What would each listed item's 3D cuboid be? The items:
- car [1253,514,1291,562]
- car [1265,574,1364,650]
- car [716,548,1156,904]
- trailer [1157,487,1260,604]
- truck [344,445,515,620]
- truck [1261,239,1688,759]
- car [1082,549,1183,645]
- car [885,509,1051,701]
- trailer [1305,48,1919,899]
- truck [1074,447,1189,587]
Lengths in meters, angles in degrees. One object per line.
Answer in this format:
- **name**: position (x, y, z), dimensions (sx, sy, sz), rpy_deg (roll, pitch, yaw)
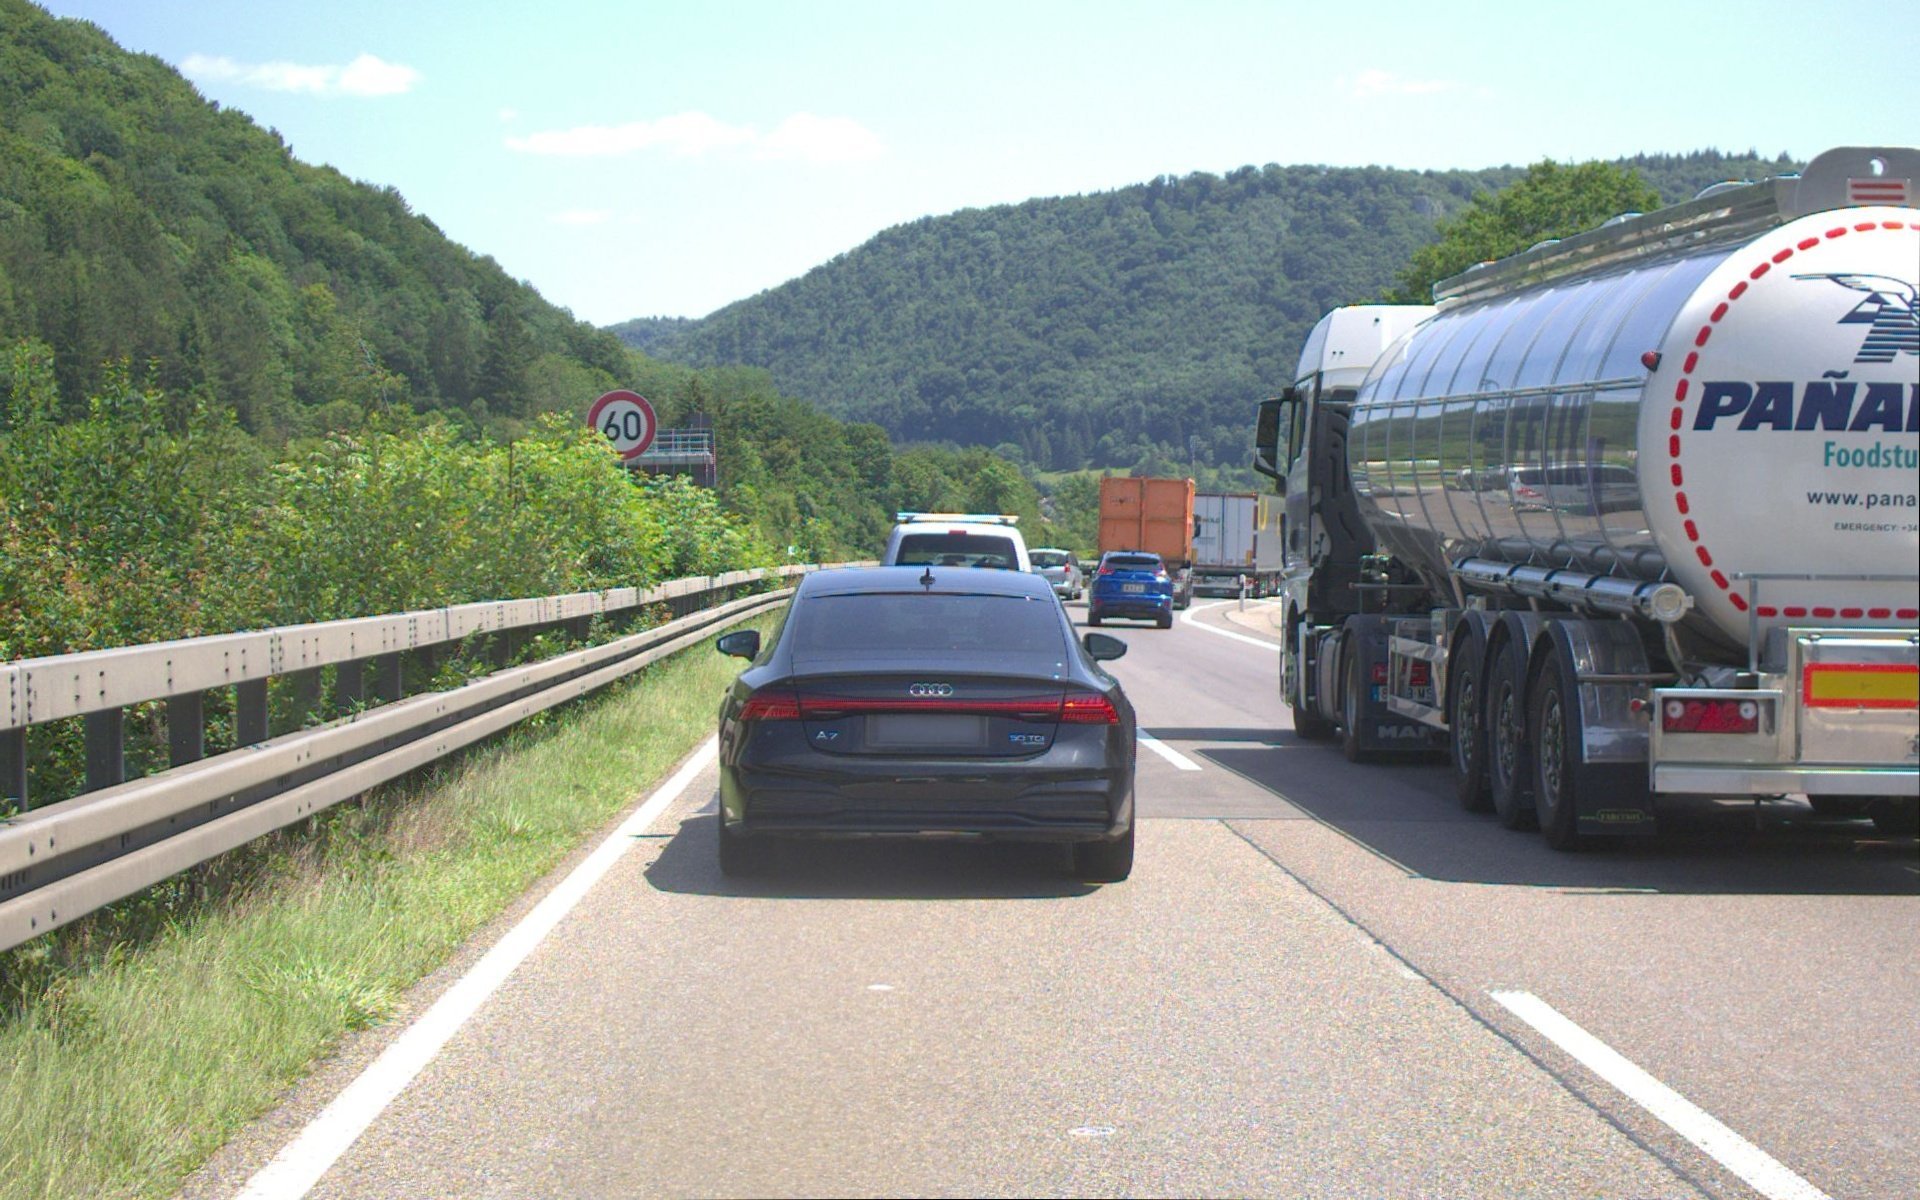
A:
- **car**: position (19.505, -3.866, 215.196), dimensions (1.993, 2.925, 4.899), rpy_deg (0, 1, 1)
- **car**: position (7.494, 0.240, 72.995), dimensions (1.747, 1.525, 4.000), rpy_deg (-1, 1, 1)
- **car**: position (-0.242, 0.496, 16.525), dimensions (1.849, 1.483, 4.083), rpy_deg (0, 1, -4)
- **trailer**: position (9.651, -2.142, 134.660), dimensions (3.015, 4.367, 10.986), rpy_deg (0, 1, -1)
- **truck**: position (-12.640, -1.607, 82.923), dimensions (2.425, 3.886, 12.283), rpy_deg (0, 1, -1)
- **truck**: position (3.953, -0.768, 27.465), dimensions (2.511, 3.745, 5.246), rpy_deg (0, 1, -1)
- **car**: position (3.756, -0.089, 75.423), dimensions (1.993, 1.996, 4.000), rpy_deg (-1, 1, 1)
- **car**: position (0.054, 0.016, 34.793), dimensions (1.576, 1.827, 4.000), rpy_deg (0, 1, -1)
- **trailer**: position (4.106, -0.648, 21.019), dimensions (2.538, 3.722, 11.892), rpy_deg (0, 1, -1)
- **truck**: position (5.147, -2.483, 105.774), dimensions (2.817, 3.989, 14.956), rpy_deg (0, 1, 0)
